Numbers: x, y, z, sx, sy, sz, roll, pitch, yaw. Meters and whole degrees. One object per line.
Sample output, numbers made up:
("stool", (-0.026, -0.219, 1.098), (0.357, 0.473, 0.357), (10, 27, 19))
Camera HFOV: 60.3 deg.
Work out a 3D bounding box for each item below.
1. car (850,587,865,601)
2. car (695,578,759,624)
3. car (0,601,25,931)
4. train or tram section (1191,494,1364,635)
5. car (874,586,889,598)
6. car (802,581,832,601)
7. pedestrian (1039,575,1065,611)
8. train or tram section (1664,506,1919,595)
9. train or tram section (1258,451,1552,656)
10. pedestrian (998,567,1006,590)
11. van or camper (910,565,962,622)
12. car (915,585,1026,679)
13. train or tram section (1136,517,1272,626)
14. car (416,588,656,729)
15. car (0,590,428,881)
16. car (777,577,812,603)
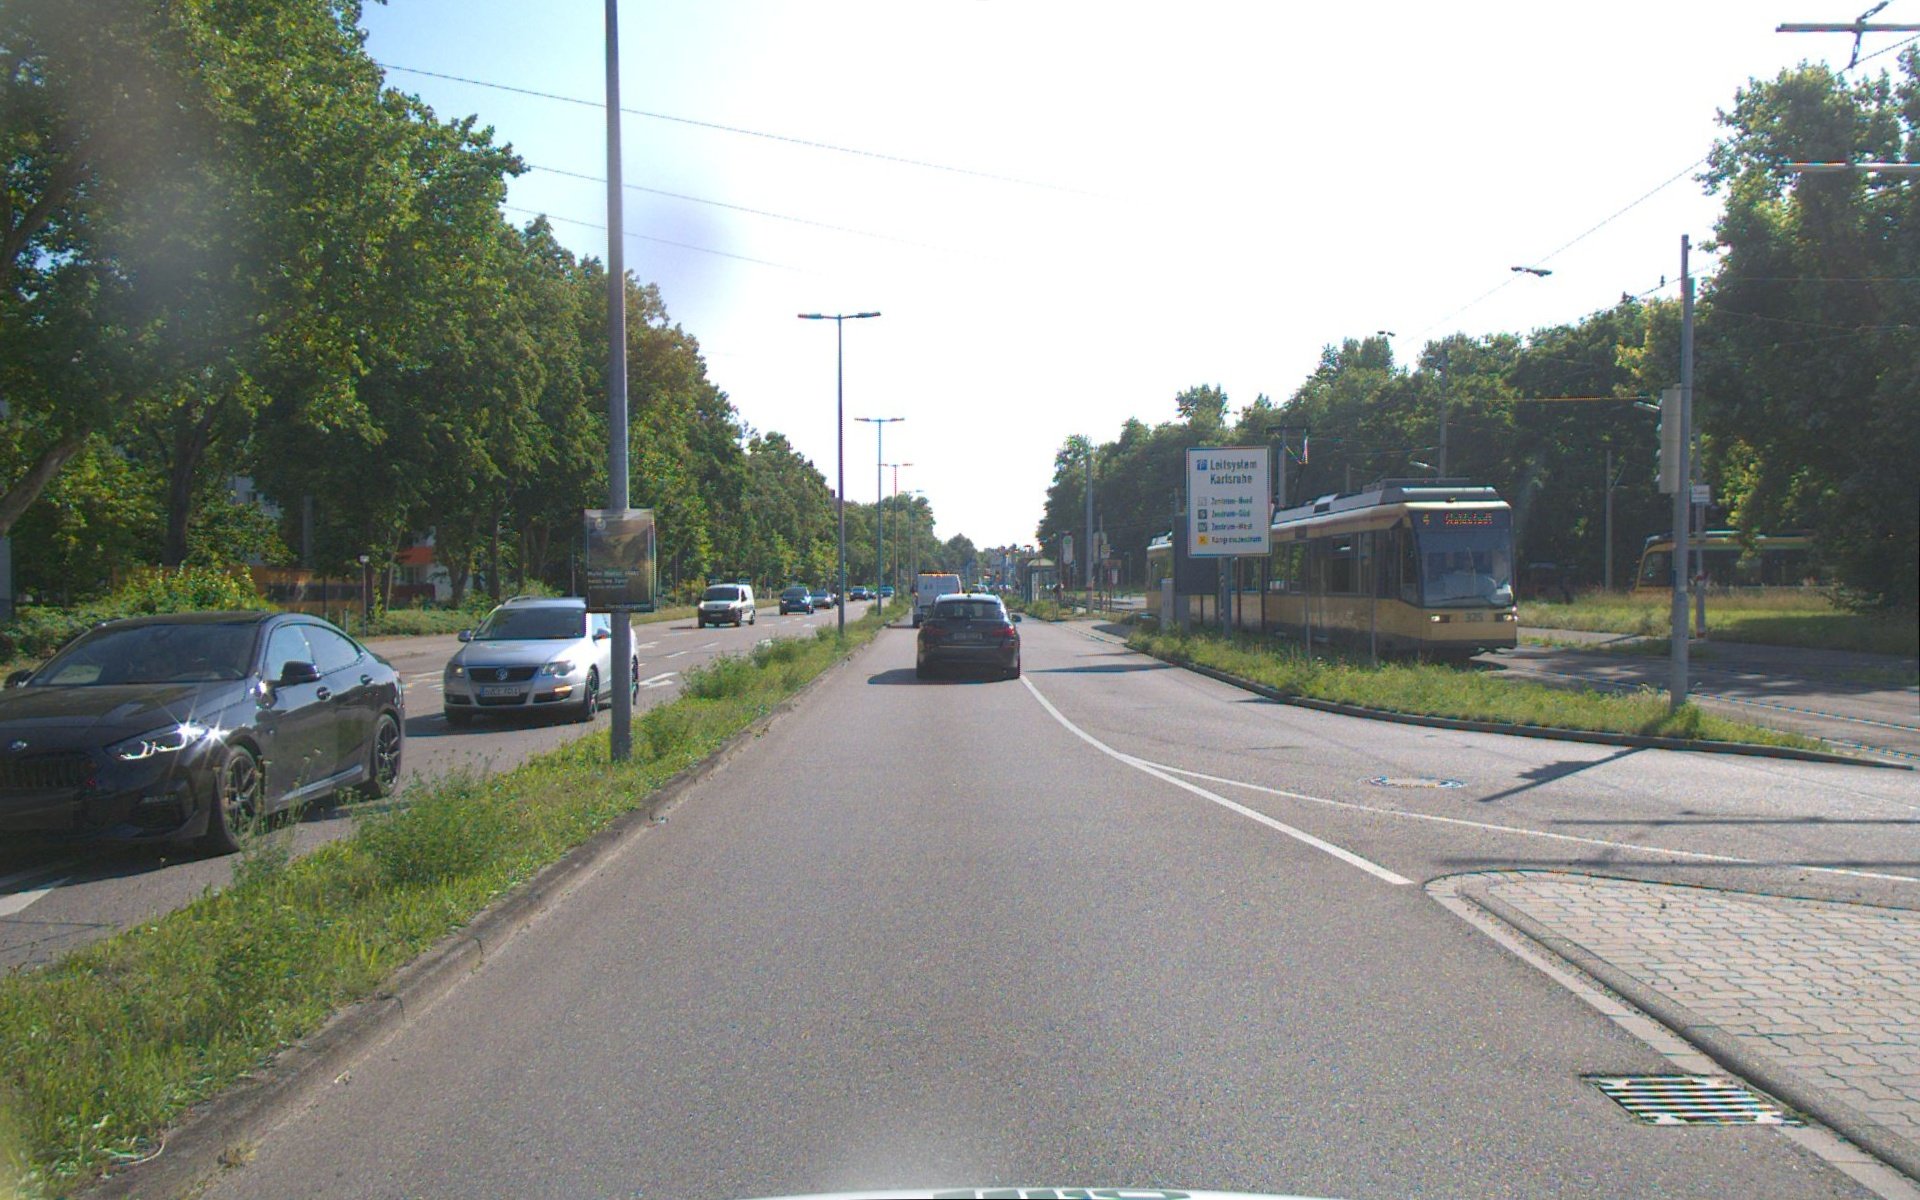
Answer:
("car", (-11.250, -0.636, 182.240), (1.502, 1.512, 3.999), (-1, 1, -1))
("car", (-9.723, -0.006, 69.289), (1.751, 1.803, 4.572), (-1, 1, 3))
("car", (-5.161, 0.804, 5.137), (1.792, 1.456, 4.731), (-2, 1, 0))
("train or tram section", (8.958, -0.937, 48.190), (2.694, 3.616, 11.254), (0, 0, -1))
("car", (-10.602, -1.114, 223.295), (1.812, 1.579, 3.999), (-1, 1, -1))
("car", (-10.190, -0.672, 118.172), (1.752, 1.351, 4.736), (-1, 1, 0))
("pedestrian", (4.304, -0.329, 77.338), (0.980, 1.663, 0.719), (0, 1, 33))
("train or tram section", (37.331, -2.078, 71.853), (12.165, 3.642, 3.049), (0, 1, 30))
("train or tram section", (9.145, -0.870, 36.119), (2.739, 3.681, 12.953), (0, 0, -1))
("pedestrian", (3.917, -1.986, 153.317), (0.684, 2.049, 0.702), (0, 1, -1))
("van or camper", (-0.921, -0.267, 64.762), (1.953, 2.132, 4.598), (-1, 1, -1))
("car", (0.182, 0.521, 30.056), (1.864, 1.532, 4.065), (-1, 1, 0))
("train or tram section", (8.741, -0.973, 61.315), (2.630, 3.541, 14.967), (0, 0, -1))
("car", (-5.281, 0.657, 21.263), (1.811, 1.503, 4.646), (-2, 1, 0))
("car", (-5.173, 0.723, 11.083), (1.792, 1.460, 4.381), (-1, 2, 0))
("car", (-9.737, -0.620, 97.536), (1.752, 1.440, 4.385), (0, 1, -1))
